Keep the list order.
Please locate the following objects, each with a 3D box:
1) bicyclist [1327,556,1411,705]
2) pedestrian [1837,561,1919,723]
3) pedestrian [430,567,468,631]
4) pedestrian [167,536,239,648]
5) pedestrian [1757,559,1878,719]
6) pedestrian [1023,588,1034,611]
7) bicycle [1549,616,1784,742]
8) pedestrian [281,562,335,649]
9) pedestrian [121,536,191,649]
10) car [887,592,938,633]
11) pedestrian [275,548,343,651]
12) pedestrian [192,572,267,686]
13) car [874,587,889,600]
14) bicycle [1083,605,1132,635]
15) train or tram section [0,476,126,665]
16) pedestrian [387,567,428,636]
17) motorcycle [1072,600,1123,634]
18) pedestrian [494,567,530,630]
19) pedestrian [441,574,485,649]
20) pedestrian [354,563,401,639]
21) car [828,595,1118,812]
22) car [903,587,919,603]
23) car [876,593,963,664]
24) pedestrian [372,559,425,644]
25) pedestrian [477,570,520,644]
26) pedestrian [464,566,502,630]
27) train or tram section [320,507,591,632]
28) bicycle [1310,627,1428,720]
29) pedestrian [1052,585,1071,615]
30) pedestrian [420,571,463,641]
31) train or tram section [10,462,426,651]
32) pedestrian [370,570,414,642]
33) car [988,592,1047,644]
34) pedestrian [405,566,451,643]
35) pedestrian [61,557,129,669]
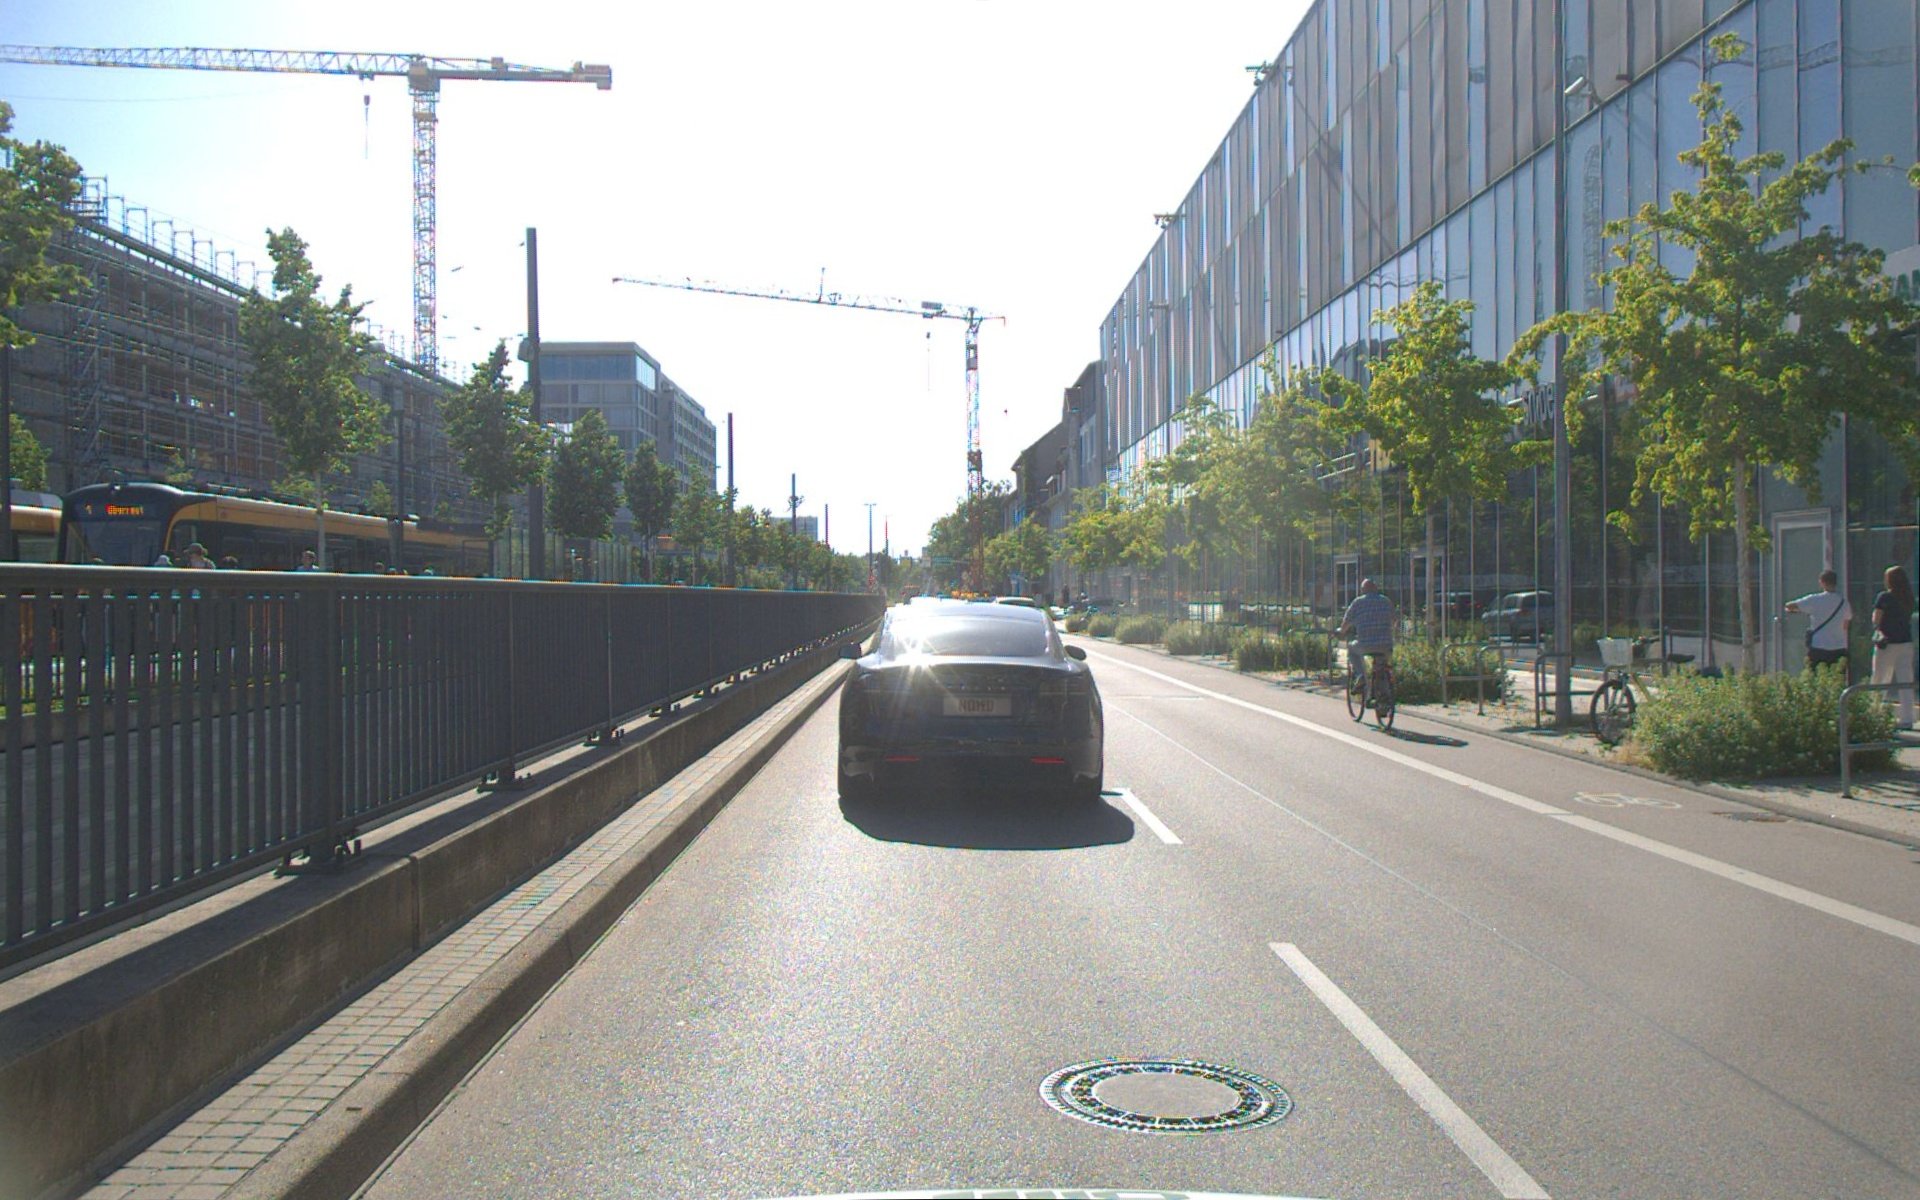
[{"bbox_3d":[4.995,0.360,20.244,0.710,1.767,0.997,-1,0,-5],"label":"bicyclist"},{"bbox_3d":[10.127,0.435,17.899,0.692,1.687,0.899,-2,0,-5],"label":"pedestrian"},{"bbox_3d":[-13.343,-0.031,43.241,0.726,1.657,0.861,0,0,0],"label":"pedestrian"},{"bbox_3d":[-12.726,-0.125,27.836,0.754,1.842,1.030,-1,0,-2],"label":"pedestrian"},{"bbox_3d":[9.307,0.409,17.978,0.805,1.687,0.899,0,0,-5],"label":"pedestrian"},{"bbox_3d":[5.719,-0.035,138.018,0.834,1.896,0.929,-1,0,-2],"label":"pedestrian"},{"bbox_3d":[7.365,0.813,17.339,2.041,1.226,0.951,-2,0,5],"label":"bicycle"},{"bbox_3d":[-13.125,0.116,33.311,0.726,1.724,0.861,0,0,0],"label":"pedestrian"},{"bbox_3d":[-13.485,-0.123,27.764,0.658,1.842,1.074,-1,0,-2],"label":"pedestrian"},{"bbox_3d":[-1.901,0.480,67.908,1.849,1.624,4.001,0,0,2],"label":"car"},{"bbox_3d":[-12.122,-0.014,30.829,0.869,1.883,1.007,0,0,-1],"label":"pedestrian"},{"bbox_3d":[-10.787,0.416,24.437,0.726,1.657,0.861,0,0,0],"label":"pedestrian"},{"bbox_3d":[-10.977,-0.891,232.081,1.953,1.713,3.998,1,0,-2],"label":"car"},{"bbox_3d":[6.018,0.803,67.586,1.848,1.171,0.669,-2,0,-12],"label":"bicycle"},{"bbox_3d":[-18.484,-0.536,26.092,2.790,3.379,15.962,1,0,-1],"label":"train or tram section"},{"bbox_3d":[-13.501,0.043,40.440,0.726,1.657,0.861,0,0,0],"label":"pedestrian"},{"bbox_3d":[6.005,0.726,72.226,2.030,1.377,0.652,-3,-1,22],"label":"motorcycle"},{"bbox_3d":[-12.051,-0.039,44.513,0.726,1.657,0.861,0,0,0],"label":"pedestrian"},{"bbox_3d":[-11.225,0.260,37.353,0.726,1.657,0.861,0,0,0],"label":"pedestrian"},{"bbox_3d":[-12.906,0.022,36.646,0.726,1.657,0.861,0,0,0],"label":"pedestrian"},{"bbox_3d":[0.146,0.694,13.423,1.958,1.459,4.413,0,0,1],"label":"car"},{"bbox_3d":[-5.714,-0.593,193.490,1.776,1.841,4.039,0,0,0],"label":"car"},{"bbox_3d":[-0.790,0.537,33.943,1.681,1.343,4.000,0,0,0],"label":"car"},{"bbox_3d":[-10.987,0.029,32.388,0.726,1.657,0.861,0,0,0],"label":"pedestrian"},{"bbox_3d":[-10.459,0.159,37.469,0.726,1.657,0.861,0,0,0],"label":"pedestrian"},{"bbox_3d":[-12.450,-0.062,43.186,0.726,1.657,0.861,0,0,0],"label":"pedestrian"},{"bbox_3d":[-16.256,-0.865,56.288,2.812,3.337,22.138,2,0,-1],"label":"train or tram section"},{"bbox_3d":[4.993,0.868,20.337,0.714,1.000,2.331,0,1,-4],"label":"bicycle"},{"bbox_3d":[6.575,-0.021,107.041,1.073,1.896,1.522,-1,0,-2],"label":"pedestrian"},{"bbox_3d":[-12.361,0.136,39.417,0.726,1.657,0.947,0,0,0],"label":"pedestrian"},{"bbox_3d":[-15.910,-0.814,37.592,2.812,3.337,15.181,2,0,-1],"label":"train or tram section"},{"bbox_3d":[-13.214,0.133,38.477,0.726,1.657,0.861,0,0,0],"label":"pedestrian"},{"bbox_3d":[1.794,0.532,52.528,1.748,1.573,4.039,0,0,0],"label":"car"},{"bbox_3d":[-11.652,0.101,36.258,0.726,1.657,0.861,0,0,0],"label":"pedestrian"},{"bbox_3d":[-12.156,0.180,23.265,0.634,1.539,0.588,1,1,-4],"label":"pedestrian"}]
